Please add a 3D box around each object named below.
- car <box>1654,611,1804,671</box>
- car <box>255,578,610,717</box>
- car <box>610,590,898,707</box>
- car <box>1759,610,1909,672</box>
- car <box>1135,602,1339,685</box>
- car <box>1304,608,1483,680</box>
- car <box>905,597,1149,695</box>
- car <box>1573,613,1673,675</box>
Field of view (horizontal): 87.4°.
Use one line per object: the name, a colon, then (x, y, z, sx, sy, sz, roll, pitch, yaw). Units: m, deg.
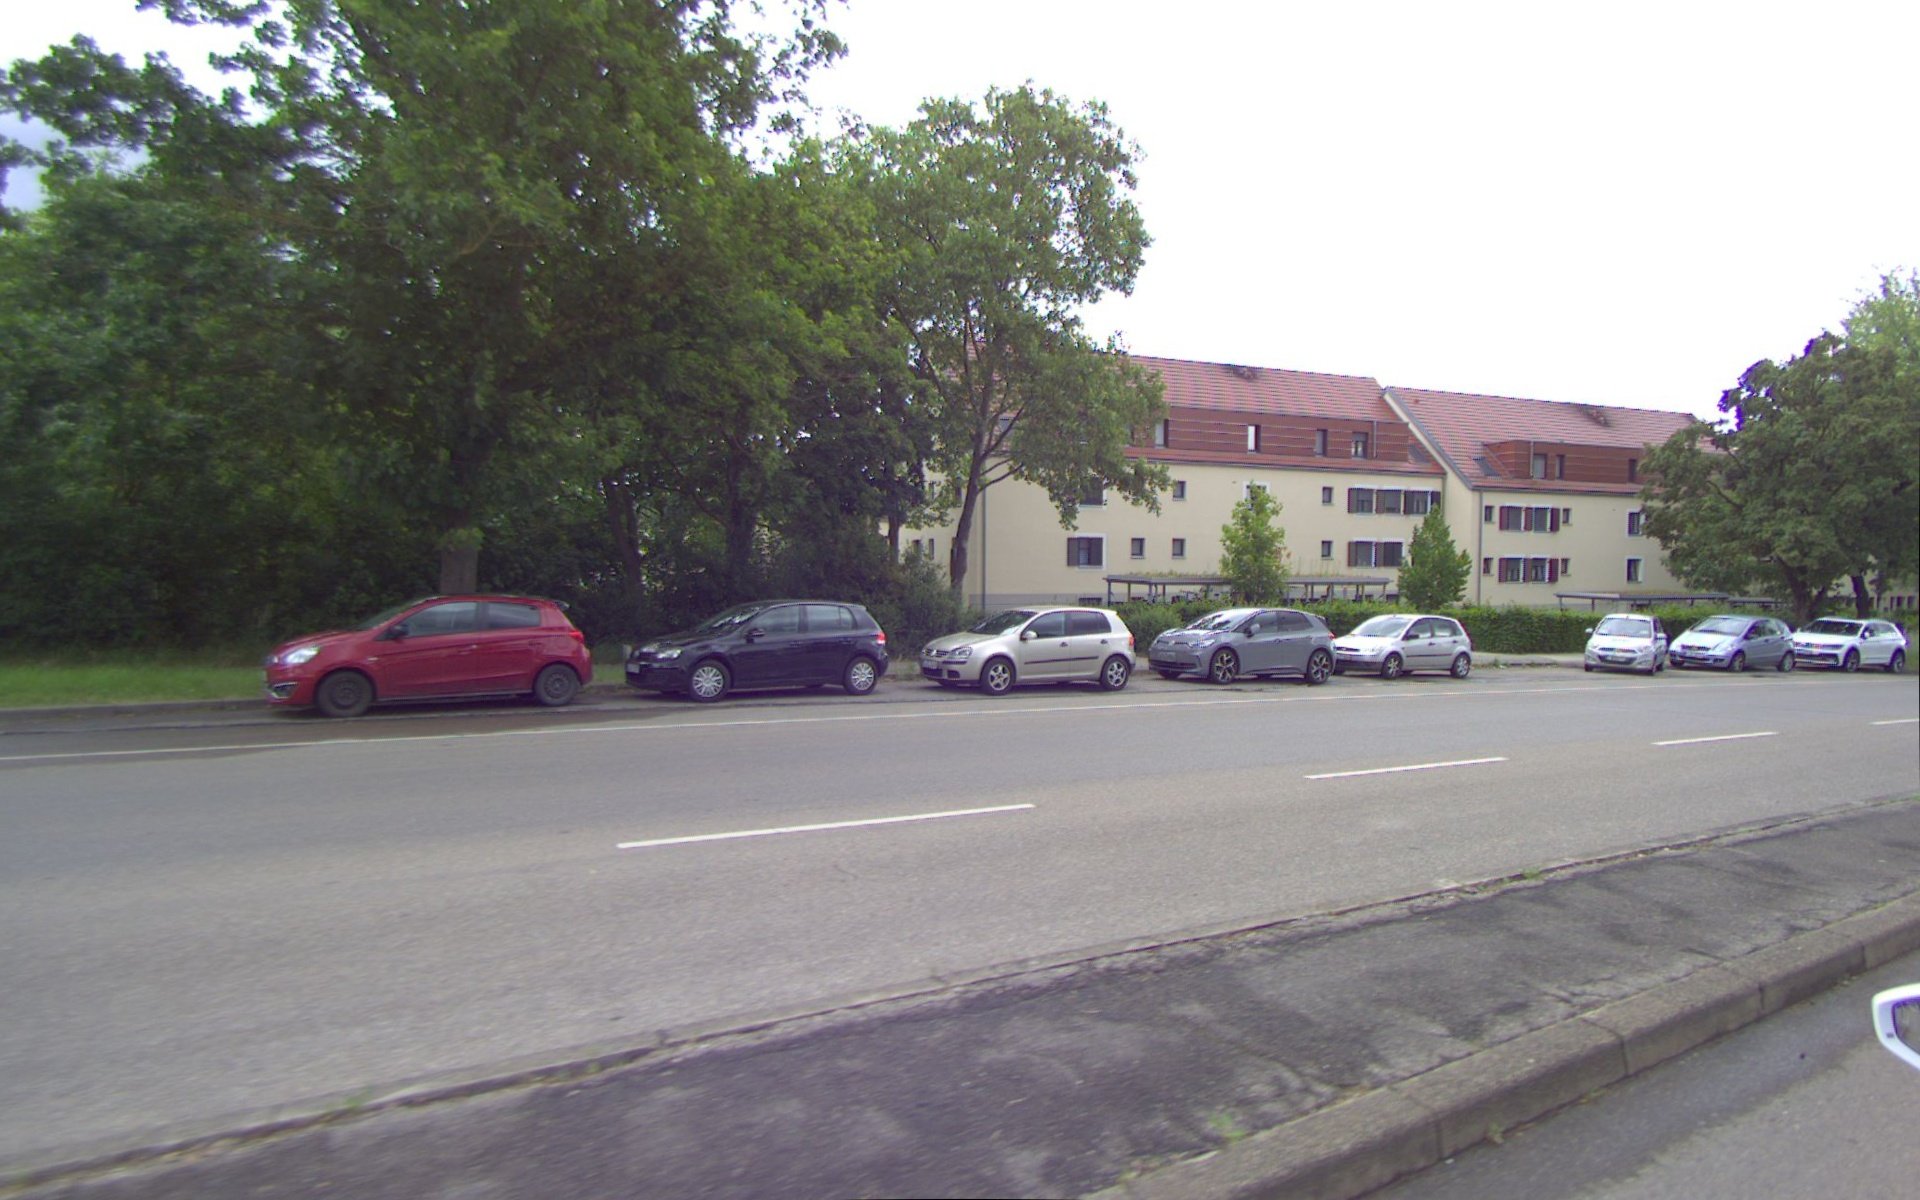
car: (22.896, 1.203, 29.905, 3.944, 1.618, 1.870, 1, 1, -24)
car: (-6.828, 0.551, 13.149, 3.853, 1.527, 1.861, 1, 1, -38)
car: (-3.111, 0.689, 15.558, 3.968, 1.527, 1.859, 2, 1, -40)
car: (27.610, 1.296, 31.731, 4.330, 1.689, 1.870, 3, 0, -24)
car: (5.818, 0.877, 21.042, 3.952, 1.527, 1.866, 1, 1, -30)
car: (10.208, 0.994, 23.619, 3.952, 1.527, 1.866, 1, 0, -30)
car: (1.228, 0.782, 17.992, 4.012, 1.527, 1.865, 2, 1, -32)
car: (18.529, 1.168, 28.001, 1.853, 1.527, 3.981, 2, 0, 40)
